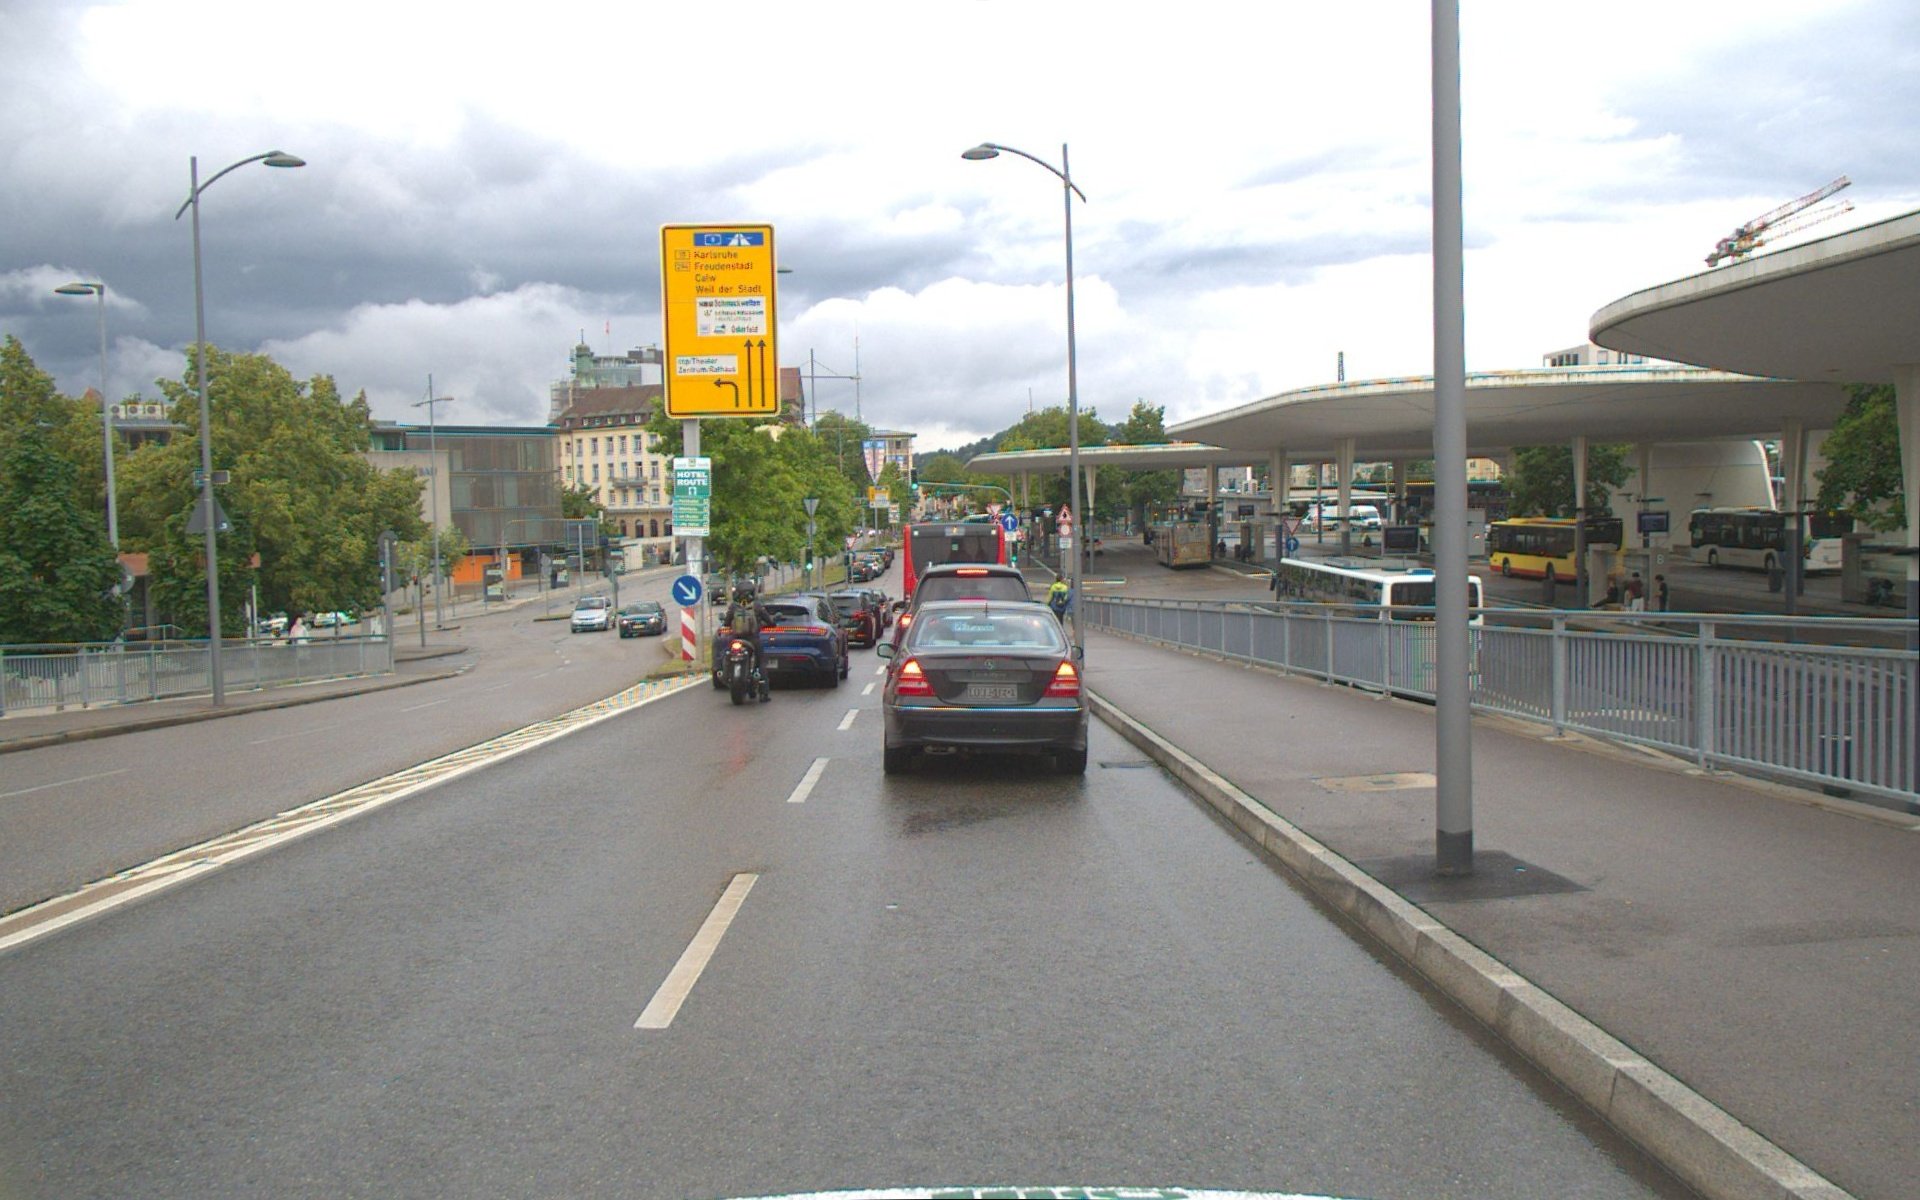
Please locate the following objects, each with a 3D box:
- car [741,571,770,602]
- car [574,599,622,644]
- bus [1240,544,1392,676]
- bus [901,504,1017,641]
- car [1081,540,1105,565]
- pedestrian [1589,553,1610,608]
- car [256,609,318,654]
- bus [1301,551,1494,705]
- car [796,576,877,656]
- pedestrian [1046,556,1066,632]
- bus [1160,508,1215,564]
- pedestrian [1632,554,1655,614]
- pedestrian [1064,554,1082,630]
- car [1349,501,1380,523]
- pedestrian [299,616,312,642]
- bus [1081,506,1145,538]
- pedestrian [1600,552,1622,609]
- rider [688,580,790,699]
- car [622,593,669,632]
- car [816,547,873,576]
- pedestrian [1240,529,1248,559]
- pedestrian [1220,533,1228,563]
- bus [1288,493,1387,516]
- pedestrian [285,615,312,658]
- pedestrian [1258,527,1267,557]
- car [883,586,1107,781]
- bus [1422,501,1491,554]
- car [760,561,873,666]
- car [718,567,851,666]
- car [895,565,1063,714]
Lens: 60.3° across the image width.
[{"bbox_3d":[-14.538,-0.938,117.532,1.956,2.049,4.195,-2,0,-7],"label":"car"},{"bbox_3d":[-17.858,1.044,81.761,1.956,2.048,3.993,-2,1,-8],"label":"car"},{"bbox_3d":[10.532,0.167,49.689,2.594,3.291,7.069,-2,5,-4],"label":"bus"},{"bbox_3d":[-0.097,-0.722,44.414,2.770,3.245,10.307,0,1,-1],"label":"bus"},{"bbox_3d":[11.401,-4.059,141.763,1.951,2.048,4.003,-2,1,5],"label":"car"},{"bbox_3d":[23.856,-0.727,61.711,0.532,2.048,0.579,-2,1,0],"label":"pedestrian"},{"bbox_3d":[-35.103,1.651,86.243,1.979,2.048,3.948,3,1,-37],"label":"car"},{"bbox_3d":[11.055,0.569,42.585,2.594,3.291,7.069,0,4,-4],"label":"bus"},{"bbox_3d":[-3.251,0.389,44.370,1.953,2.041,3.999,0,1,-1],"label":"car"},{"bbox_3d":[2.627,-0.164,45.164,0.479,2.049,0.470,-2,-1,1],"label":"pedestrian"},{"bbox_3d":[15.895,-4.415,116.339,3.111,3.663,10.516,-1,1,4],"label":"bus"},{"bbox_3d":[23.640,-0.557,57.202,0.549,2.048,0.483,-2,1,1],"label":"pedestrian"},{"bbox_3d":[3.083,-0.221,45.008,0.415,2.049,0.483,-2,-1,1],"label":"pedestrian"},{"bbox_3d":[39.742,-8.668,162.655,1.953,2.048,4.000,-2,2,-1],"label":"car"},{"bbox_3d":[-22.597,1.000,57.077,0.294,0.888,0.298,-2,2,2],"label":"pedestrian"},{"bbox_3d":[18.003,-9.216,195.125,7.057,3.455,3.080,-2,2,-4],"label":"bus"},{"bbox_3d":[23.712,-0.718,60.285,0.532,2.048,0.579,-2,1,0],"label":"pedestrian"},{"bbox_3d":[-2.922,0.491,22.127,0.862,1.497,2.197,1,1,5],"label":"rider"},{"bbox_3d":[-14.107,0.532,74.286,1.799,1.553,4.587,-2,2,-8],"label":"car"},{"bbox_3d":[-8.507,-2.854,122.456,3.903,2.048,2.001,-2,1,3],"label":"car"},{"bbox_3d":[20.051,-3.940,116.671,0.415,2.048,0.483,-2,1,1],"label":"pedestrian"},{"bbox_3d":[18.015,-3.534,113.049,0.415,2.048,0.483,-2,1,1],"label":"pedestrian"},{"bbox_3d":[39.820,-10.079,174.437,9.967,2.048,2.169,-2,1,-4],"label":"bus"},{"bbox_3d":[-22.768,1.242,56.959,0.634,1.433,0.531,-2,2,2],"label":"pedestrian"},{"bbox_3d":[20.706,-3.951,113.243,0.415,2.049,0.483,-2,-1,1],"label":"pedestrian"},{"bbox_3d":[0.260,0.630,14.325,1.671,1.444,3.725,-1,0,0],"label":"car"},{"bbox_3d":[32.664,-4.769,109.117,2.546,3.265,6.996,-2,2,1],"label":"bus"},{"bbox_3d":[-2.899,0.218,34.177,1.952,2.041,4.000,0,1,0],"label":"car"},{"bbox_3d":[-2.732,0.204,26.512,1.724,1.461,4.000,0,1,0],"label":"car"},{"bbox_3d":[0.339,0.420,21.236,1.788,1.716,4.003,0,1,6],"label":"car"}]
